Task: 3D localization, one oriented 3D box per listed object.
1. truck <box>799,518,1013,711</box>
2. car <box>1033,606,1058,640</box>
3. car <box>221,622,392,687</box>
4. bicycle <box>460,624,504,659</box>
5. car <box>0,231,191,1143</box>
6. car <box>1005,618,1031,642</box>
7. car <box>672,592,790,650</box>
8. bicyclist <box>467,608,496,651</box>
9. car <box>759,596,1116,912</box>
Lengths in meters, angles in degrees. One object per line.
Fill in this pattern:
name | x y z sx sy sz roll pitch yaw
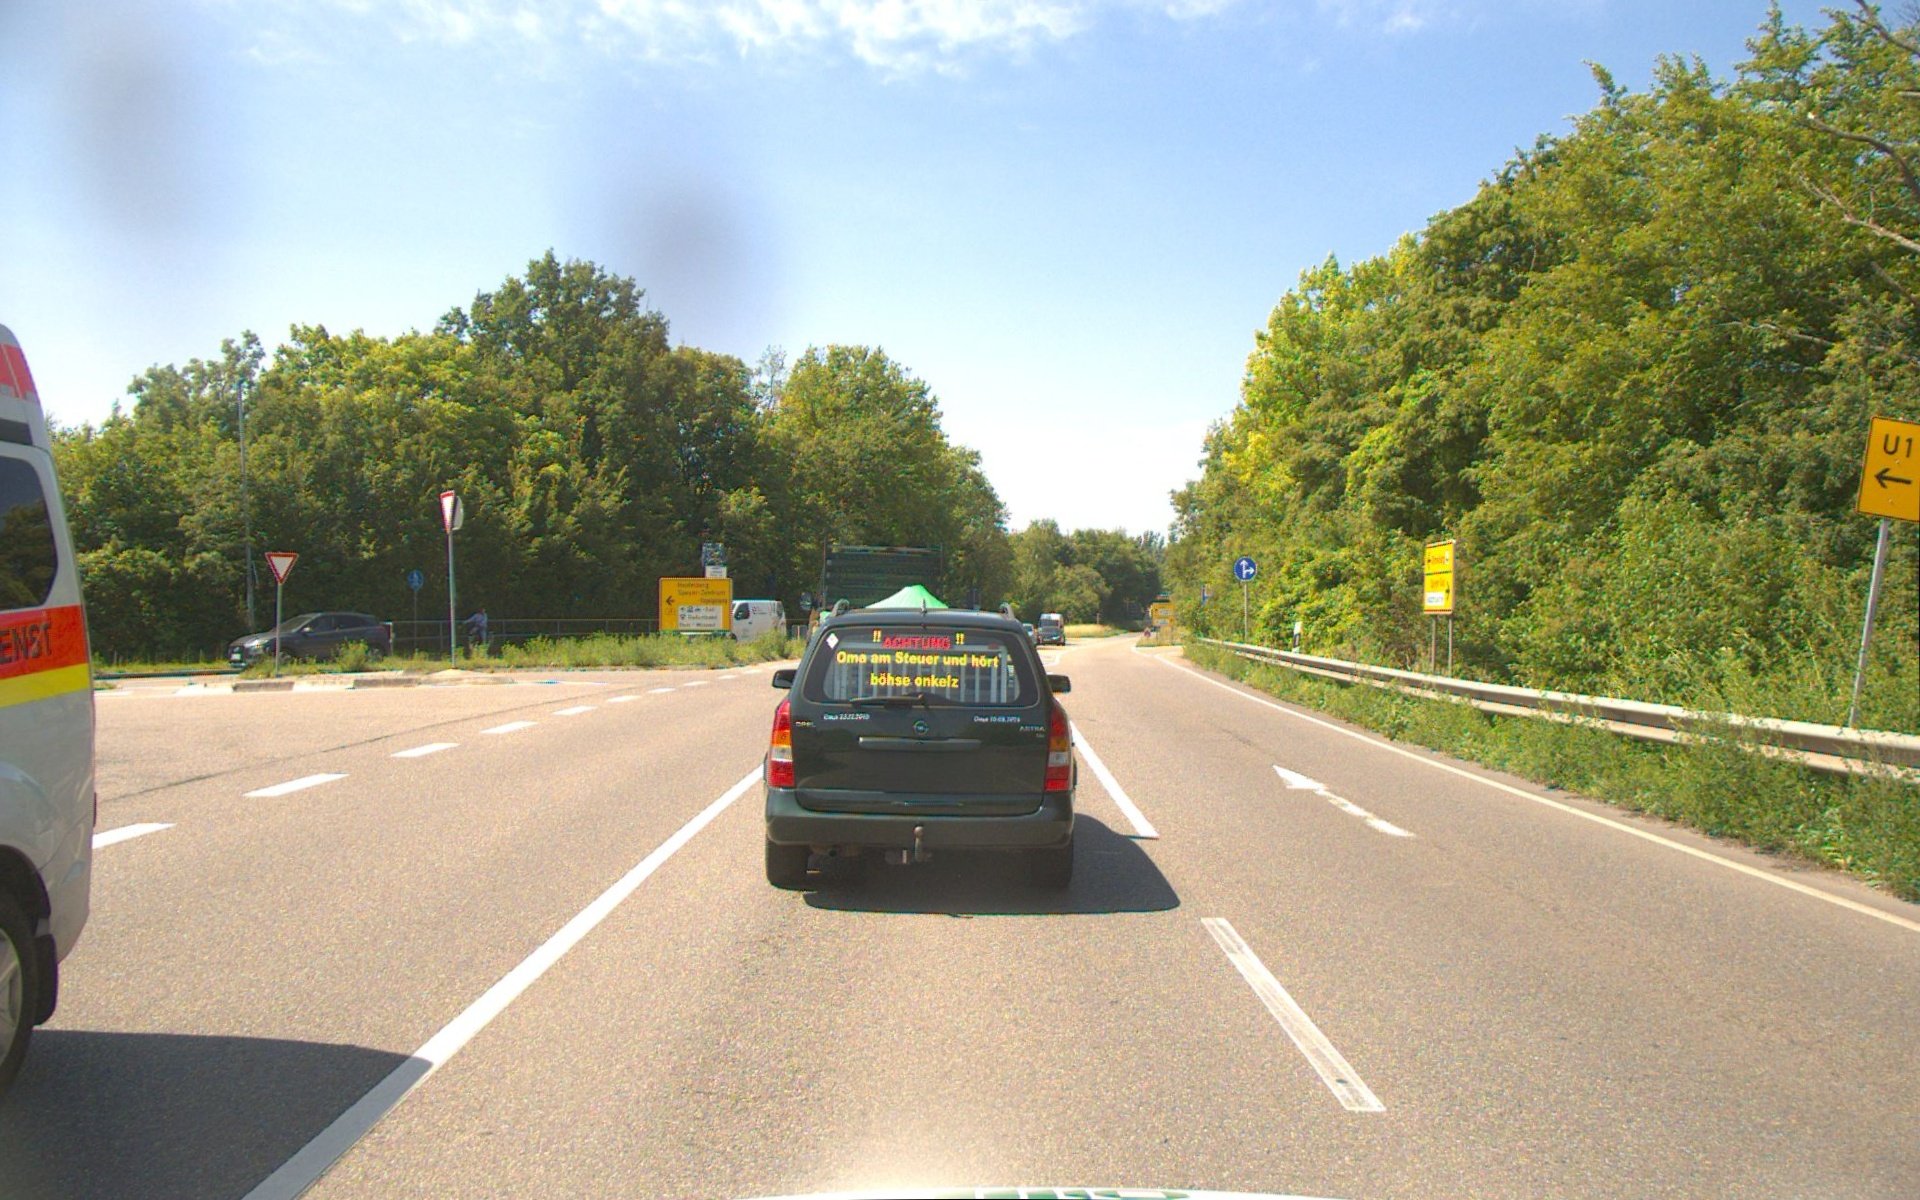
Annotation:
truck | -1.032 0.206 25.836 2.102 2.610 6.617 1 0 -13
car | 7.534 2.011 144.777 2.061 2.900 6.014 1 -1 3
car | -17.473 1.413 44.342 1.739 1.624 3.903 1 0 43
bicycle | -15.568 1.347 53.867 0.427 1.133 1.477 -1 -1 33
car | -3.486 0.228 2.823 1.950 2.409 5.180 1 0 -1
car | 3.635 1.846 103.122 1.610 1.443 3.767 1 -1 2
car | -8.197 0.736 59.793 1.968 1.957 5.194 1 0 21
bicyclist | -15.569 0.966 53.832 0.675 1.387 0.607 0 0 34
car | -0.100 0.732 9.813 1.685 1.482 3.797 1 0 0
